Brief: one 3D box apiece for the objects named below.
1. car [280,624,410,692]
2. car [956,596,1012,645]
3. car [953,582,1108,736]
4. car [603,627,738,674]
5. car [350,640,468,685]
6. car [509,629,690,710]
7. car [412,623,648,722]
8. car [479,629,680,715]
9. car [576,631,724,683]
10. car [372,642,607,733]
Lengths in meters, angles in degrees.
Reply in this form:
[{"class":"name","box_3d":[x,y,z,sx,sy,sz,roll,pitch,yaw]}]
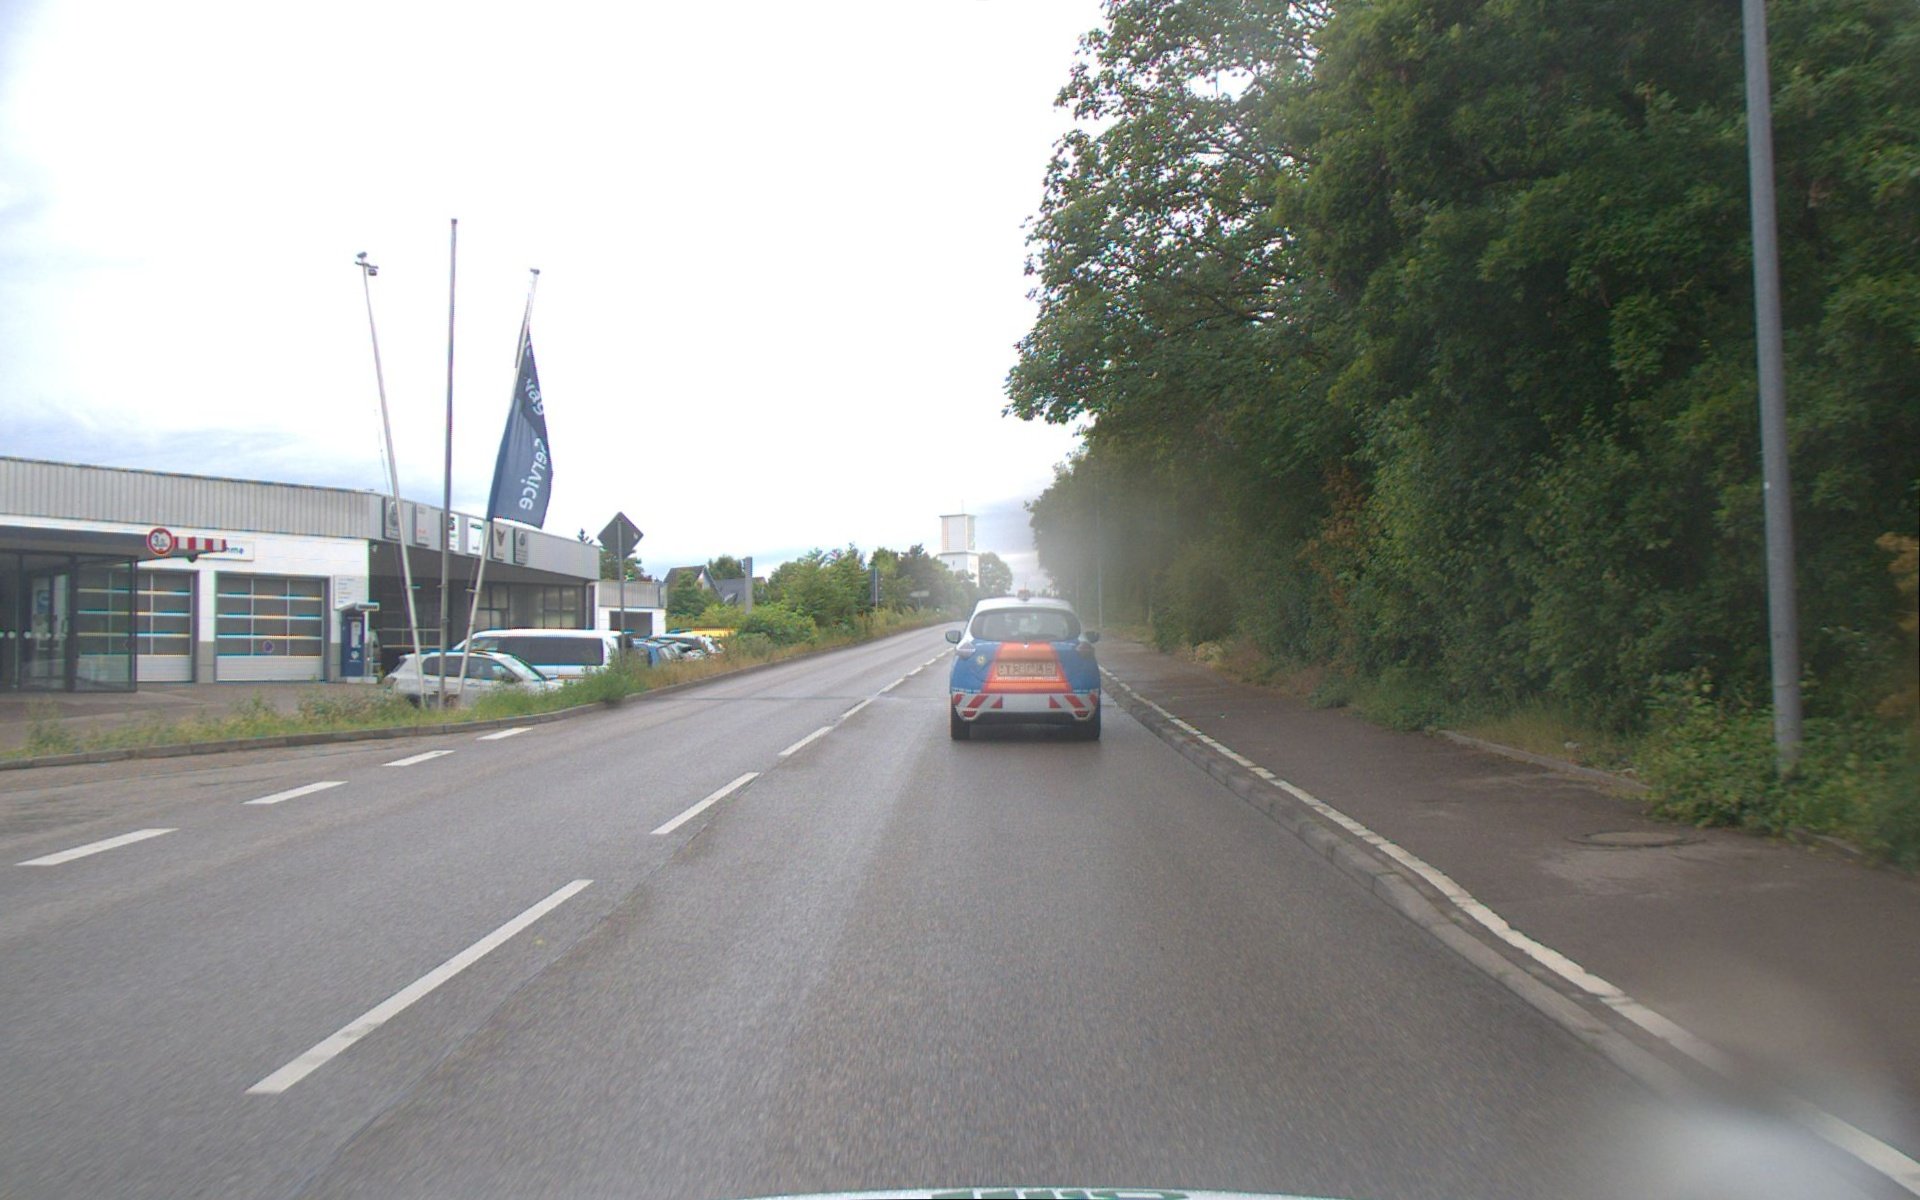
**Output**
[{"class":"car","box_3d":[-20.581,1.960,55.264,4.397,1.994,1.980,-5,-3,37]},{"class":"car","box_3d":[0.818,0.745,59.204,1.766,1.618,3.561,-2,-1,-2]},{"class":"car","box_3d":[0.815,0.676,19.450,1.623,1.621,3.569,-1,-1,2]},{"class":"car","box_3d":[-9.217,1.596,52.829,3.980,1.313,1.804,-2,0,-2]},{"class":"car","box_3d":[-19.056,2.152,57.174,3.941,1.441,1.947,-2,0,36]},{"class":"car","box_3d":[-9.109,1.737,42.058,4.141,1.829,1.874,-2,0,-2]},{"class":"car","box_3d":[-8.829,1.469,34.216,4.322,1.829,1.934,-2,0,0]},{"class":"car","box_3d":[-9.067,1.694,39.708,4.323,1.829,2.001,-2,0,-2]},{"class":"car","box_3d":[-9.371,1.716,50.260,4.141,1.392,1.874,-2,0,-2]},{"class":"car","box_3d":[-8.926,1.642,31.601,3.927,1.504,1.824,-2,0,0]}]
